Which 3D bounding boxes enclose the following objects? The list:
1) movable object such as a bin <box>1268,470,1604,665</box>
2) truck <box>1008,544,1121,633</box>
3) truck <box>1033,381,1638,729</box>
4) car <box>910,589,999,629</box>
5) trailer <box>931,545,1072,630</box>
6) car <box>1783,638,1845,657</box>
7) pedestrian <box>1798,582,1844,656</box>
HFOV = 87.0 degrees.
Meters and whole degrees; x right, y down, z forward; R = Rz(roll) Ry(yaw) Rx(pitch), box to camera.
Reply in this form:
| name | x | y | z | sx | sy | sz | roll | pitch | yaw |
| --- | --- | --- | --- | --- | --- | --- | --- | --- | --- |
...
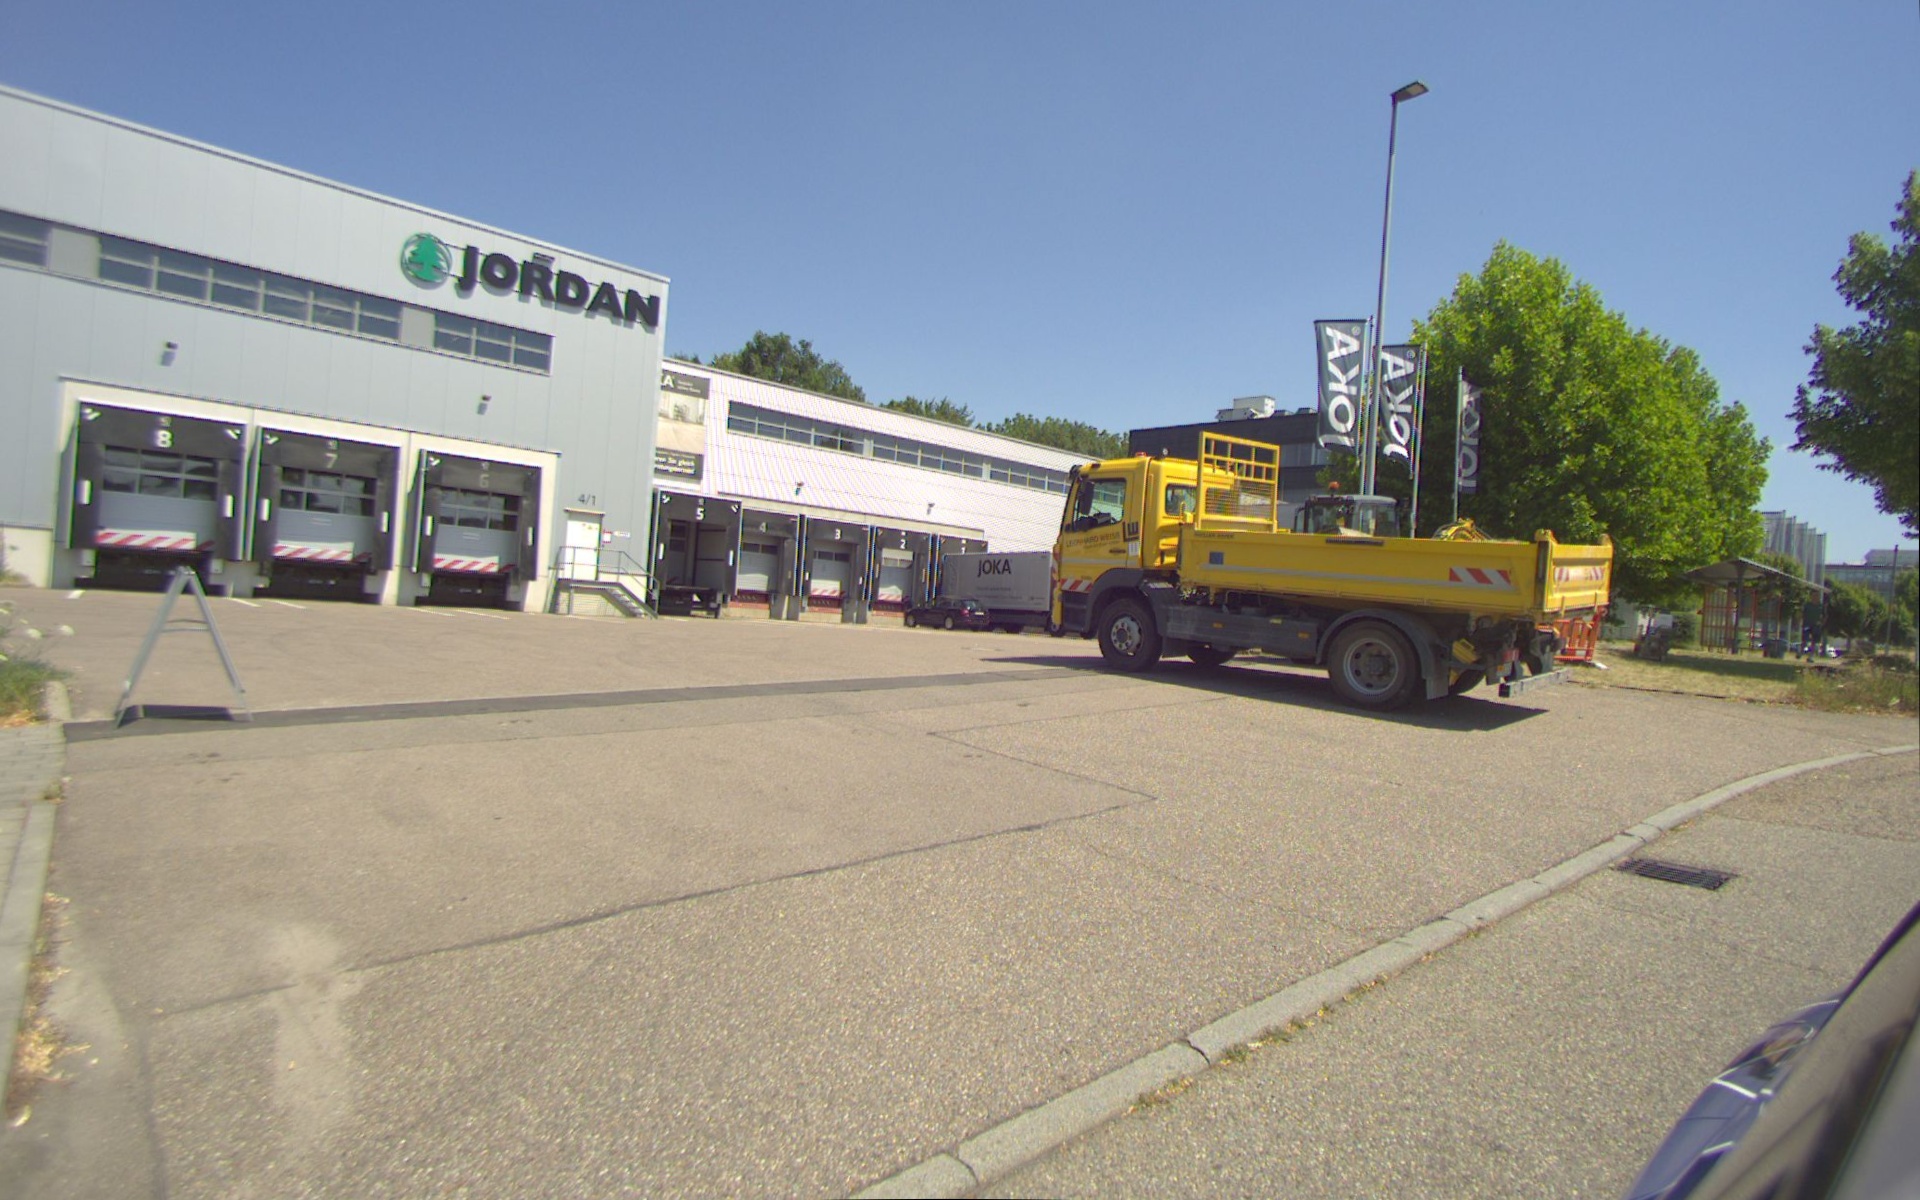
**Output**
| name | x | y | z | sx | sy | sz | roll | pitch | yaw |
| --- | --- | --- | --- | --- | --- | --- | --- | --- | --- |
| movable object such as a bin | 7.843 | -0.428 | 16.283 | 6.454 | 2.613 | 2.000 | 1 | 1 | -36 |
| truck | 4.446 | -0.509 | 43.567 | 2.120 | 3.496 | 4.337 | 7 | -3 | -43 |
| truck | 4.187 | -0.583 | 12.437 | 2.553 | 3.174 | 6.409 | 0 | 3 | -44 |
| car | -0.283 | 0.382 | 44.462 | 1.775 | 1.419 | 3.790 | 5 | -1 | -41 |
| trailer | 1.792 | -0.606 | 46.468 | 2.140 | 3.503 | 6.698 | 7 | -3 | -42 |
| car | 72.841 | 4.050 | 86.351 | 1.676 | 1.290 | 3.886 | 2 | 1 | -42 |
| pedestrian | 20.282 | 0.446 | 23.851 | 0.520 | 1.691 | 0.580 | 5 | -3 | -14 |
